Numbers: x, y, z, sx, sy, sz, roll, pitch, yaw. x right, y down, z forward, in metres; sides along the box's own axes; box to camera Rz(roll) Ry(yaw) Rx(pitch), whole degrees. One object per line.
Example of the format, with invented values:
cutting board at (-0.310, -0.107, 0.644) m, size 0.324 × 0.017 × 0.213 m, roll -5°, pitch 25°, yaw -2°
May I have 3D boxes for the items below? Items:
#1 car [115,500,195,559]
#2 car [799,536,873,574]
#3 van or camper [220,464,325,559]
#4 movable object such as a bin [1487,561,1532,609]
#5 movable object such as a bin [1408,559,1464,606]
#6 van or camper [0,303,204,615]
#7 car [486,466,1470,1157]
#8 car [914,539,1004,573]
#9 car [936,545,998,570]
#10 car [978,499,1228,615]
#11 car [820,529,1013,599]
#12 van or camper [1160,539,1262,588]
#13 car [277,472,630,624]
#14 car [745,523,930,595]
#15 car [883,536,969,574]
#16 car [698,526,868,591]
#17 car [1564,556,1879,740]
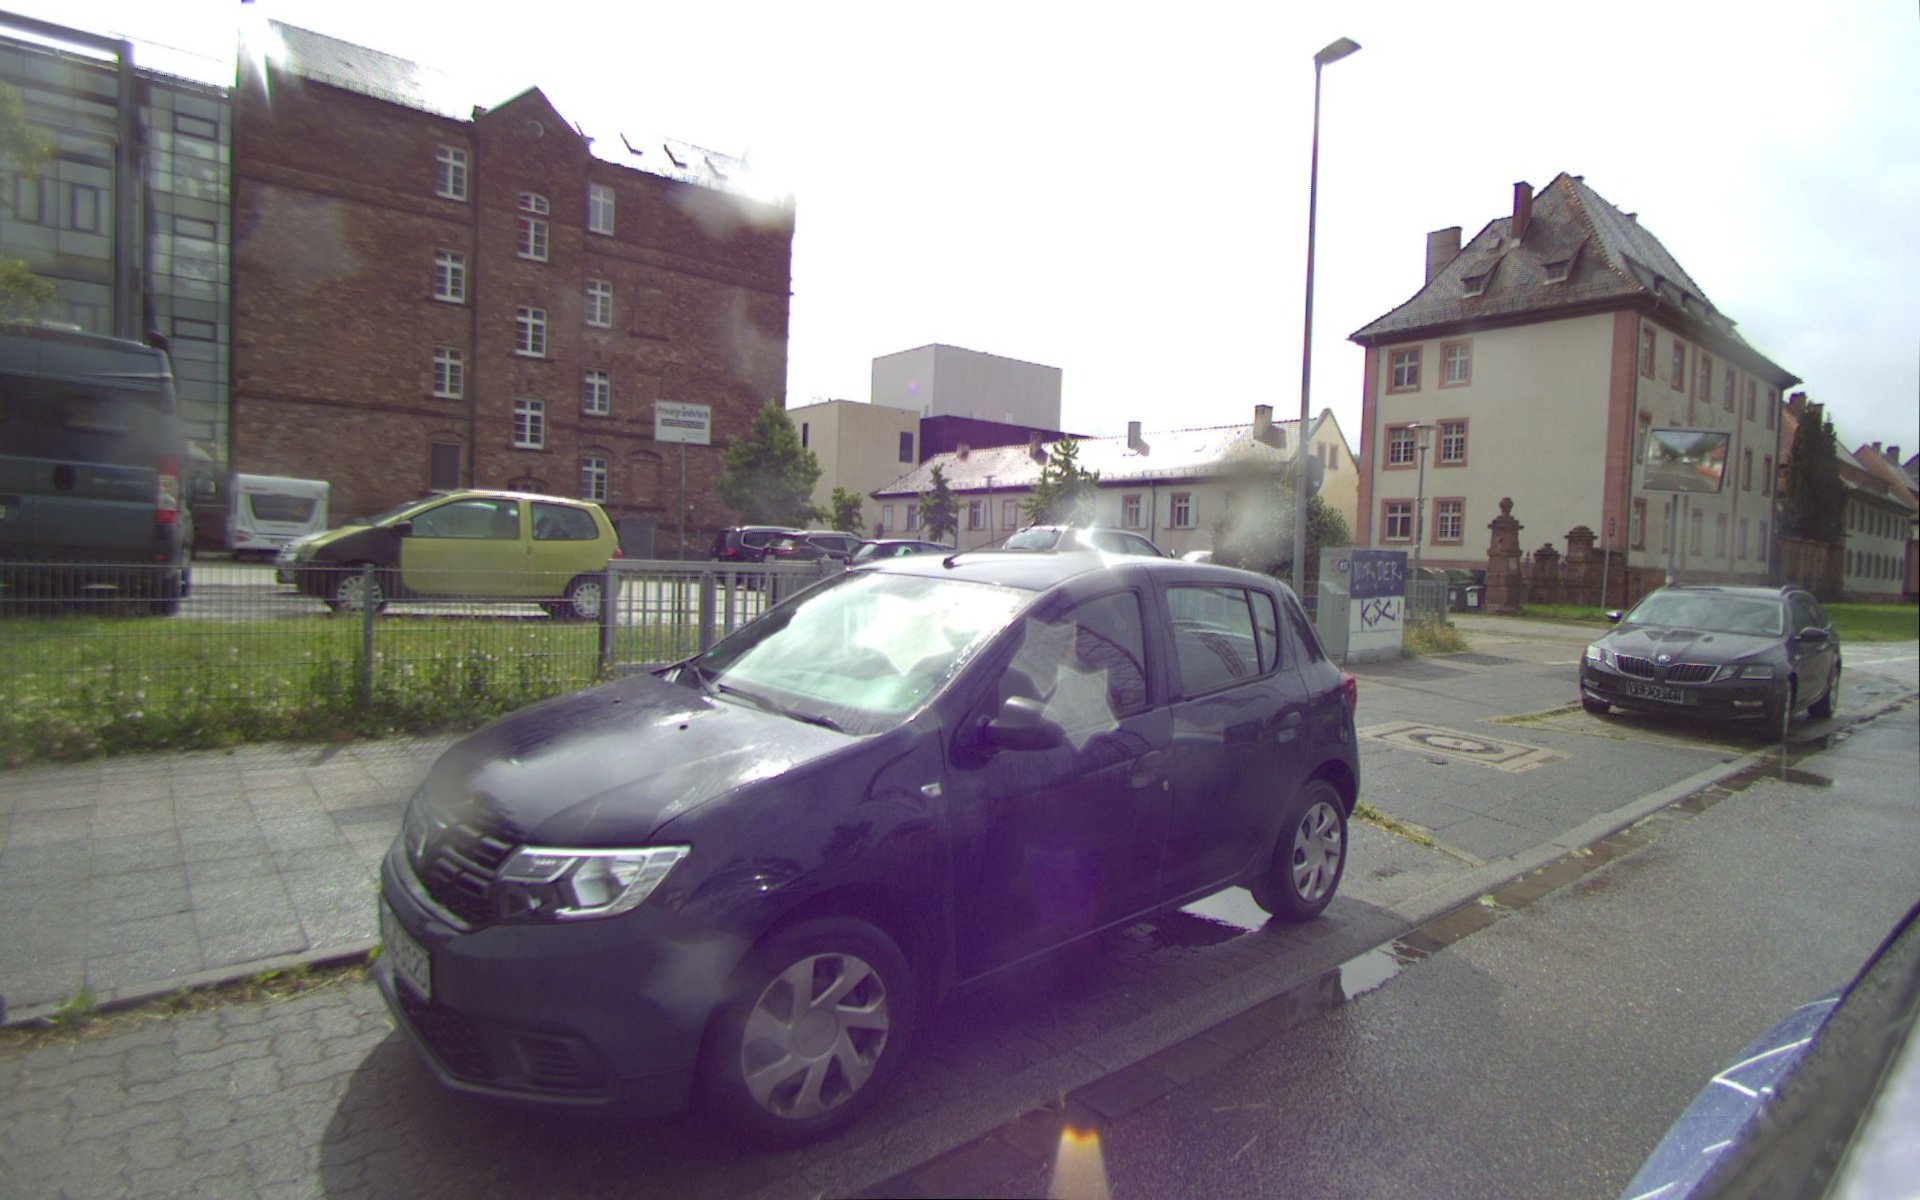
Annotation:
car at (-23.015, -1.950, 28.905) m, size 1.657 × 1.538 × 3.504 m, roll -1°, pitch 2°, yaw -41°
car at (-6.955, -2.502, 56.809) m, size 3.735 × 2.032 × 1.759 m, roll -1°, pitch 2°, yaw -36°
van or camper at (-20.620, -2.521, 30.268) m, size 2.217 × 2.517 × 4.798 m, roll -1°, pitch 2°, yaw -38°
movable object such as a bin at (17.386, -0.475, 32.009) m, size 1.077 × 1.474 × 0.802 m, roll 0°, pitch 4°, yaw -37°
movable object such as a bin at (15.911, -0.594, 33.848) m, size 1.365 × 1.474 × 1.110 m, roll 0°, pitch 4°, yaw -37°
van or camper at (-9.276, -1.297, 10.590) m, size 2.135 × 2.585 × 5.015 m, roll -1°, pitch 3°, yaw -37°
car at (0.377, 0.391, 4.218) m, size 3.932 × 1.546 × 1.760 m, roll -1°, pitch 4°, yaw -42°
car at (-0.024, -1.957, 45.696) m, size 3.735 × 1.471 × 1.759 m, roll -1°, pitch 2°, yaw -36°
car at (0.424, -2.623, 62.680) m, size 3.508 × 1.394 × 1.709 m, roll 0°, pitch 4°, yaw -38°
car at (2.526, -0.728, 17.439) m, size 4.159 × 1.771 × 1.810 m, roll 0°, pitch 4°, yaw -37°
car at (-1.009, -0.861, 24.538) m, size 4.338 × 1.545 × 1.836 m, roll 0°, pitch 4°, yaw -34°
van or camper at (11.647, -1.654, 46.850) m, size 5.090 × 2.143 × 1.794 m, roll 0°, pitch 1°, yaw -38°
car at (-5.675, -0.561, 11.446) m, size 3.352 × 1.466 × 1.616 m, roll 0°, pitch 4°, yaw -36°
car at (-3.133, -1.039, 26.189) m, size 4.337 × 1.699 × 1.861 m, roll 0°, pitch 3°, yaw -33°
car at (-1.585, -2.114, 47.875) m, size 3.735 × 1.712 × 1.759 m, roll -1°, pitch 2°, yaw -36°
car at (-4.958, -1.154, 28.601) m, size 4.341 × 1.699 × 1.860 m, roll 0°, pitch 4°, yaw -37°
car at (8.524, 0.396, 11.188) m, size 4.301 × 1.558 × 1.779 m, roll 0°, pitch 5°, yaw -40°
